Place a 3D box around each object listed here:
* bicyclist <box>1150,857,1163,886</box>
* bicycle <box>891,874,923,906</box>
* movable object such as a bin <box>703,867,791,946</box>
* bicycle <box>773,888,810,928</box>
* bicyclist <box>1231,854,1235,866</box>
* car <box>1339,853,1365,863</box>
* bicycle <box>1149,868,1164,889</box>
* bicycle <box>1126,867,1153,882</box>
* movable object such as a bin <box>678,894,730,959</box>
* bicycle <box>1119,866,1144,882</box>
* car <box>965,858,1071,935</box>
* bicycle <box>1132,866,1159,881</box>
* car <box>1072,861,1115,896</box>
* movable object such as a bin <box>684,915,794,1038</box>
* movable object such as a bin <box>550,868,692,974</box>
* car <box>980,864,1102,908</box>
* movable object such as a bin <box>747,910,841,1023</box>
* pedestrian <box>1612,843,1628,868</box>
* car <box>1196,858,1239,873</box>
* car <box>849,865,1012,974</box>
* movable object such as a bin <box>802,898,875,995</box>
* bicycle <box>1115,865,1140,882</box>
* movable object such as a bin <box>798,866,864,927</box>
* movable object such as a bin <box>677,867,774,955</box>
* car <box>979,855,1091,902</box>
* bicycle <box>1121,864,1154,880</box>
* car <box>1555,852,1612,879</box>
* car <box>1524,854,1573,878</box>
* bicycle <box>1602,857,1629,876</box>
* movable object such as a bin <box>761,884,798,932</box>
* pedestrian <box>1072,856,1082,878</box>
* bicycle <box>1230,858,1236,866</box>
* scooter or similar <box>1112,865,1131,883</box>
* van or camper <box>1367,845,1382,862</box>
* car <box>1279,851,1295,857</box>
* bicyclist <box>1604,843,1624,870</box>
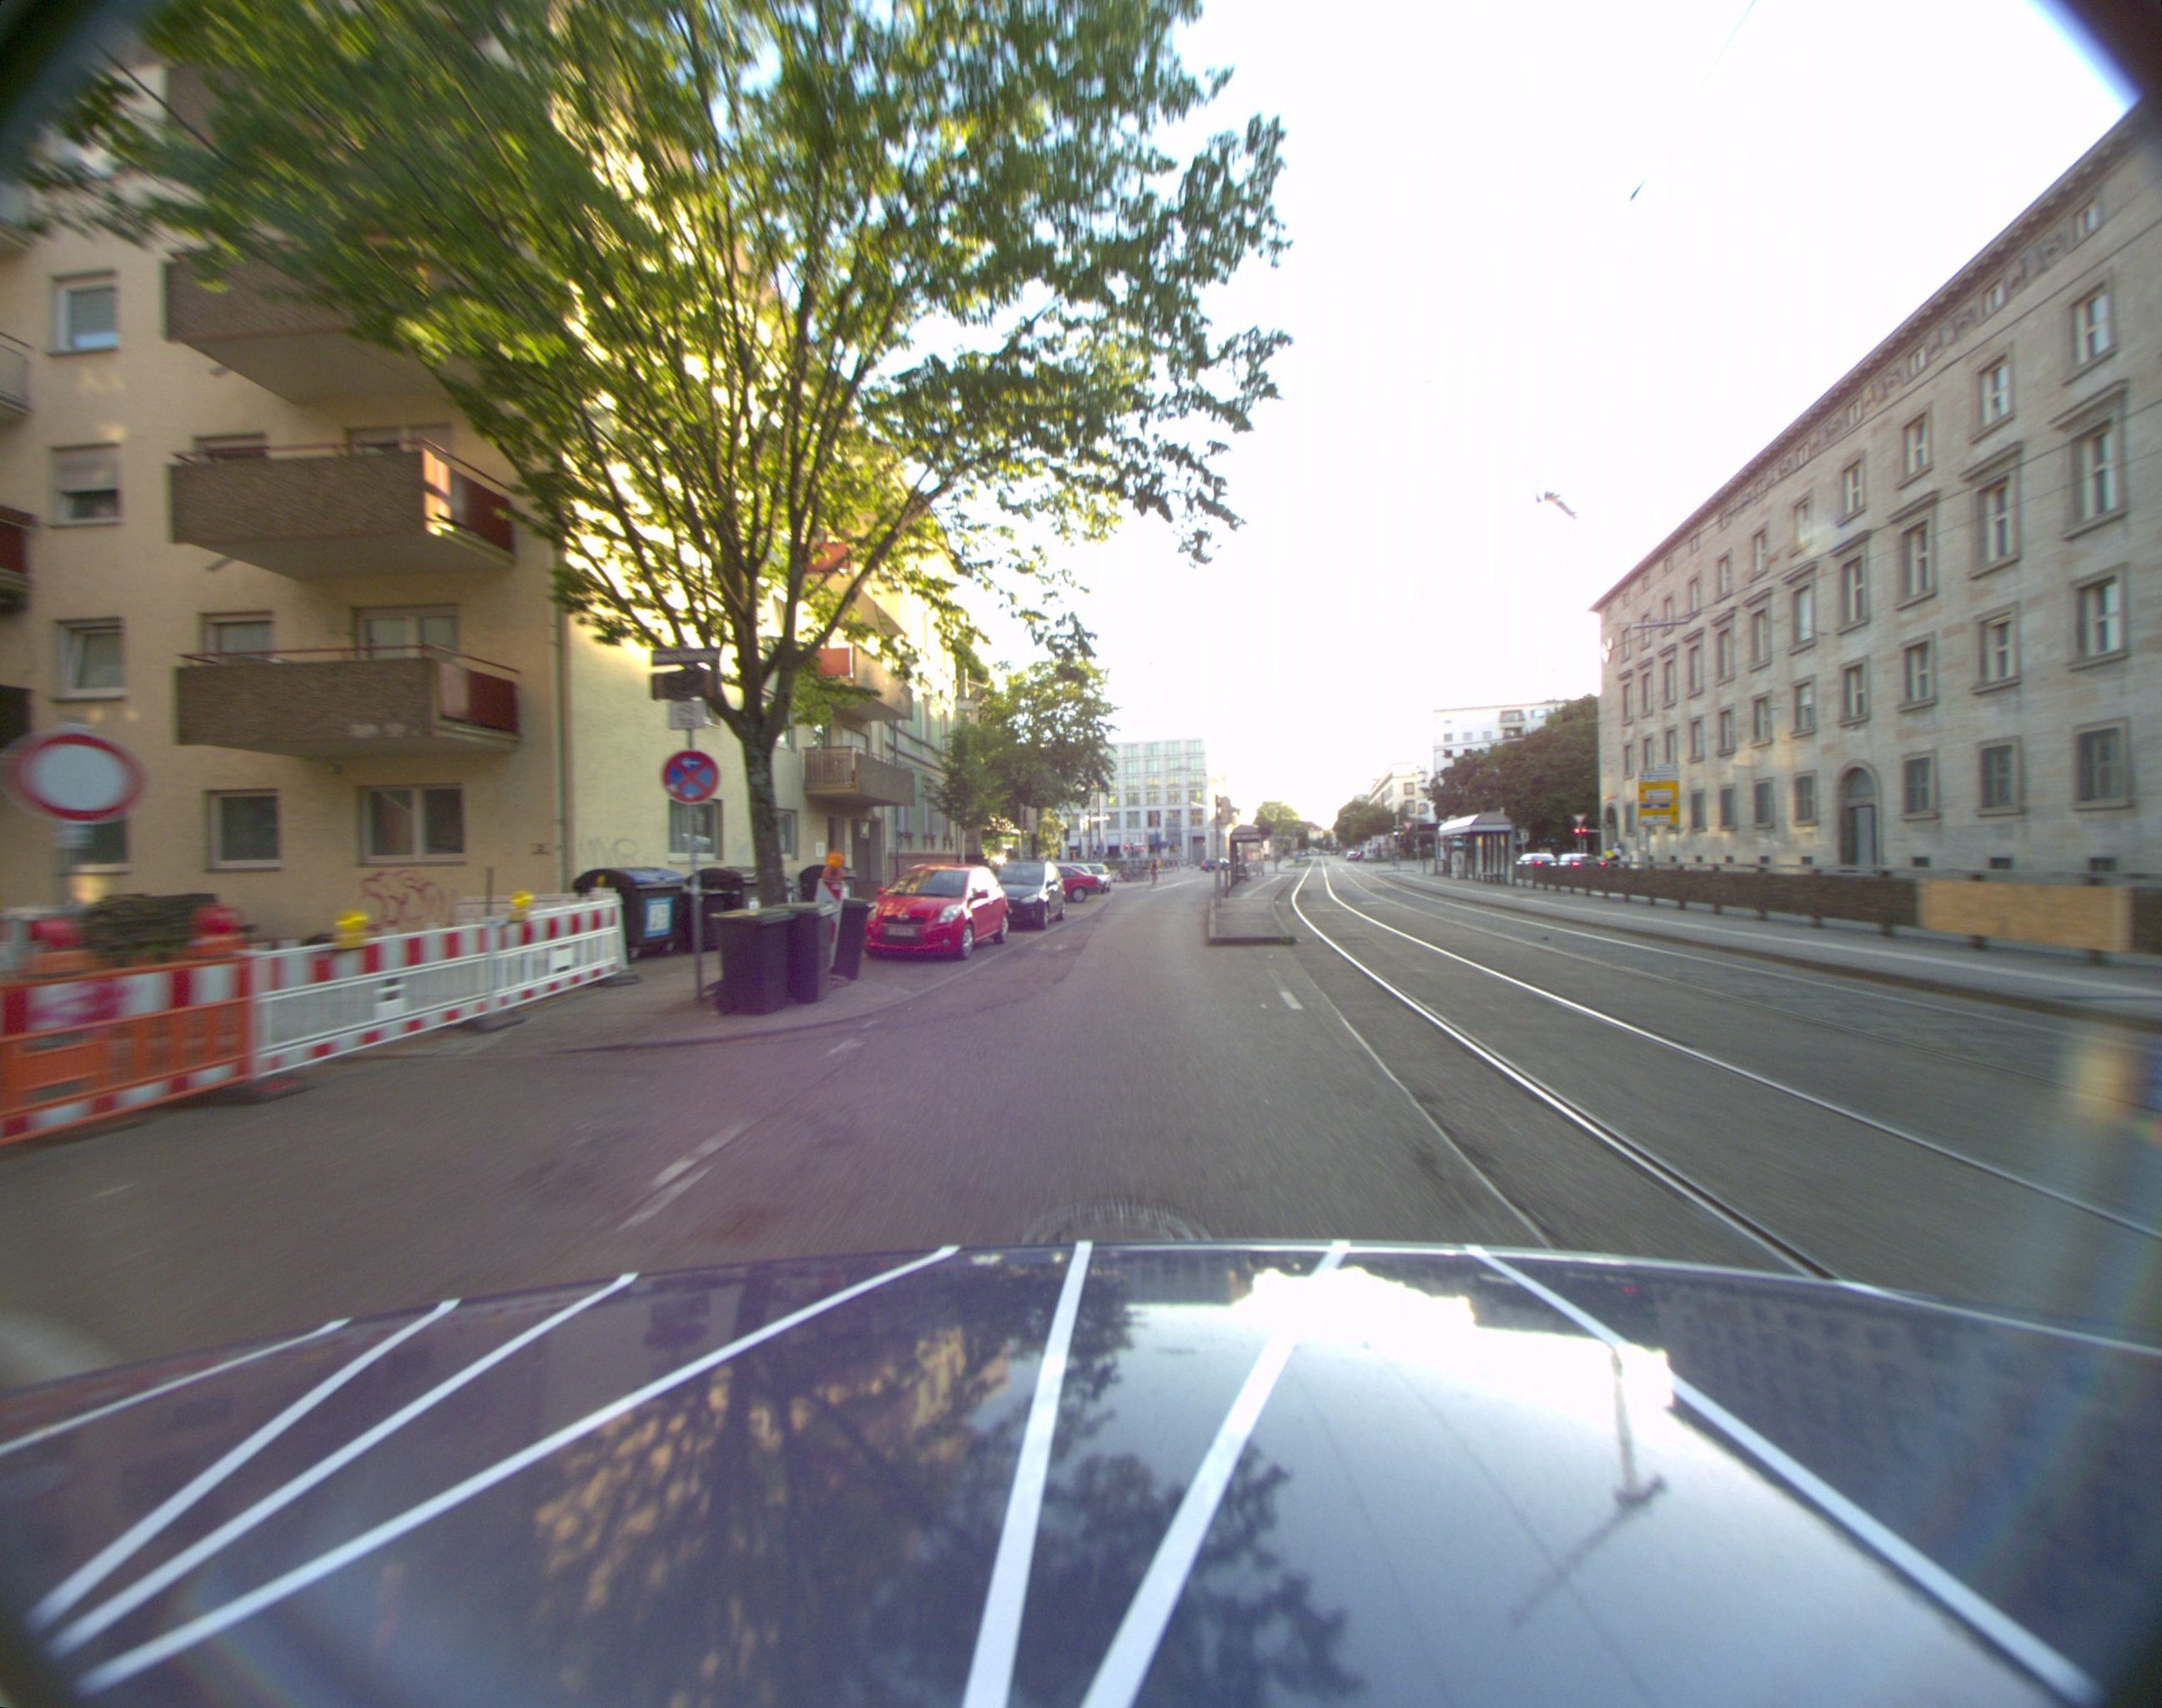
[{"bbox_3d":[4.347,1.007,43.657,0.609,1.626,0.597,-1,0,12],"label":"bicyclist"},{"bbox_3d":[-6.243,1.295,27.324,0.652,1.068,1.556,-2,0,4],"label":"bicycle"},{"bbox_3d":[-6.728,1.028,15.383,1.143,1.493,1.271,-2,0,4],"label":"movable object such as a bin"},{"bbox_3d":[-6.923,1.273,18.216,0.414,0.859,1.225,-1,0,-1],"label":"bicycle"},{"bbox_3d":[20.096,0.804,100.446,0.540,1.626,0.598,-1,0,18],"label":"bicyclist"},{"bbox_3d":[46.525,0.634,130.481,1.889,1.654,4.338,-1,0,-22],"label":"car"},{"bbox_3d":[4.355,1.398,43.691,0.609,1.108,2.088,-1,0,11],"label":"bicycle"},{"bbox_3d":[4.226,1.473,54.800,1.757,1.068,0.745,-2,0,19],"label":"bicycle"},{"bbox_3d":[-6.391,1.218,12.895,0.555,1.041,0.571,-2,0,3],"label":"movable object such as a bin"},{"bbox_3d":[3.523,1.401,53.133,1.553,1.068,0.745,-1,0,19],"label":"bicycle"},{"bbox_3d":[-1.408,0.936,18.548,1.747,1.622,4.090,1,0,7],"label":"car"},{"bbox_3d":[4.796,1.477,56.445,1.861,1.068,0.745,-2,0,35],"label":"bicycle"},{"bbox_3d":[0.685,1.173,37.503,1.683,1.543,4.002,2,0,7],"label":"car"},{"bbox_3d":[-3.471,1.220,7.749,0.794,1.147,0.589,-2,1,16],"label":"movable object such as a bin"},{"bbox_3d":[-7.090,0.987,11.830,1.143,1.493,1.598,-2,0,4],"label":"movable object such as a bin"},{"bbox_3d":[-1.496,1.151,28.483,4.215,1.445,1.642,-1,0,-26],"label":"car"},{"bbox_3d":[-3.140,1.211,8.344,0.713,1.147,0.589,-2,0,16],"label":"movable object such as a bin"},{"bbox_3d":[37.468,0.107,52.812,0.696,1.700,0.647,-1,0,20],"label":"pedestrian"},{"bbox_3d":[14.317,1.185,79.868,4.170,1.412,1.699,-1,0,2],"label":"car"},{"bbox_3d":[-2.414,0.997,13.106,1.567,1.527,3.695,1,0,9],"label":"car"},{"bbox_3d":[-3.132,1.163,9.817,0.624,1.147,0.714,-2,0,-43],"label":"movable object such as a bin"},{"bbox_3d":[3.199,1.343,52.117,1.528,1.156,0.745,-2,0,19],"label":"bicycle"},{"bbox_3d":[-6.521,1.083,19.919,1.116,1.493,1.482,-2,0,4],"label":"movable object such as a bin"},{"bbox_3d":[-6.446,0.999,13.875,1.074,1.493,1.319,-2,0,2],"label":"movable object such as a bin"},{"bbox_3d":[-1.864,0.976,31.162,4.215,1.715,1.718,-1,0,-25],"label":"car"},{"bbox_3d":[4.142,1.289,55.594,2.232,1.125,0.745,0,0,19],"label":"bicycle"},{"bbox_3d":[27.776,0.611,42.102,1.645,1.419,3.710,-1,0,17],"label":"car"},{"bbox_3d":[29.645,0.719,48.285,1.645,1.419,4.238,-1,0,17],"label":"car"},{"bbox_3d":[29.563,0.704,42.066,0.742,1.011,1.763,-1,0,18],"label":"bicycle"},{"bbox_3d":[-6.835,1.216,17.226,0.555,1.041,0.571,-2,0,3],"label":"movable object such as a bin"},{"bbox_3d":[-0.311,1.010,60.414,0.708,1.757,0.989,-1,0,2],"label":"pedestrian"},{"bbox_3d":[20.143,1.091,100.582,0.539,1.045,1.763,-1,0,18],"label":"bicycle"},{"bbox_3d":[2.733,1.327,51.135,1.201,1.218,0.592,0,1,18],"label":"scooter or similar"},{"bbox_3d":[49.555,-0.103,128.424,2.107,2.664,4.718,-2,-2,19],"label":"van or camper"},{"bbox_3d":[54.532,-0.036,201.130,3.802,1.639,1.866,-1,0,17],"label":"car"},{"bbox_3d":[29.577,0.137,42.145,0.757,1.432,0.598,-1,0,18],"label":"bicyclist"}]
